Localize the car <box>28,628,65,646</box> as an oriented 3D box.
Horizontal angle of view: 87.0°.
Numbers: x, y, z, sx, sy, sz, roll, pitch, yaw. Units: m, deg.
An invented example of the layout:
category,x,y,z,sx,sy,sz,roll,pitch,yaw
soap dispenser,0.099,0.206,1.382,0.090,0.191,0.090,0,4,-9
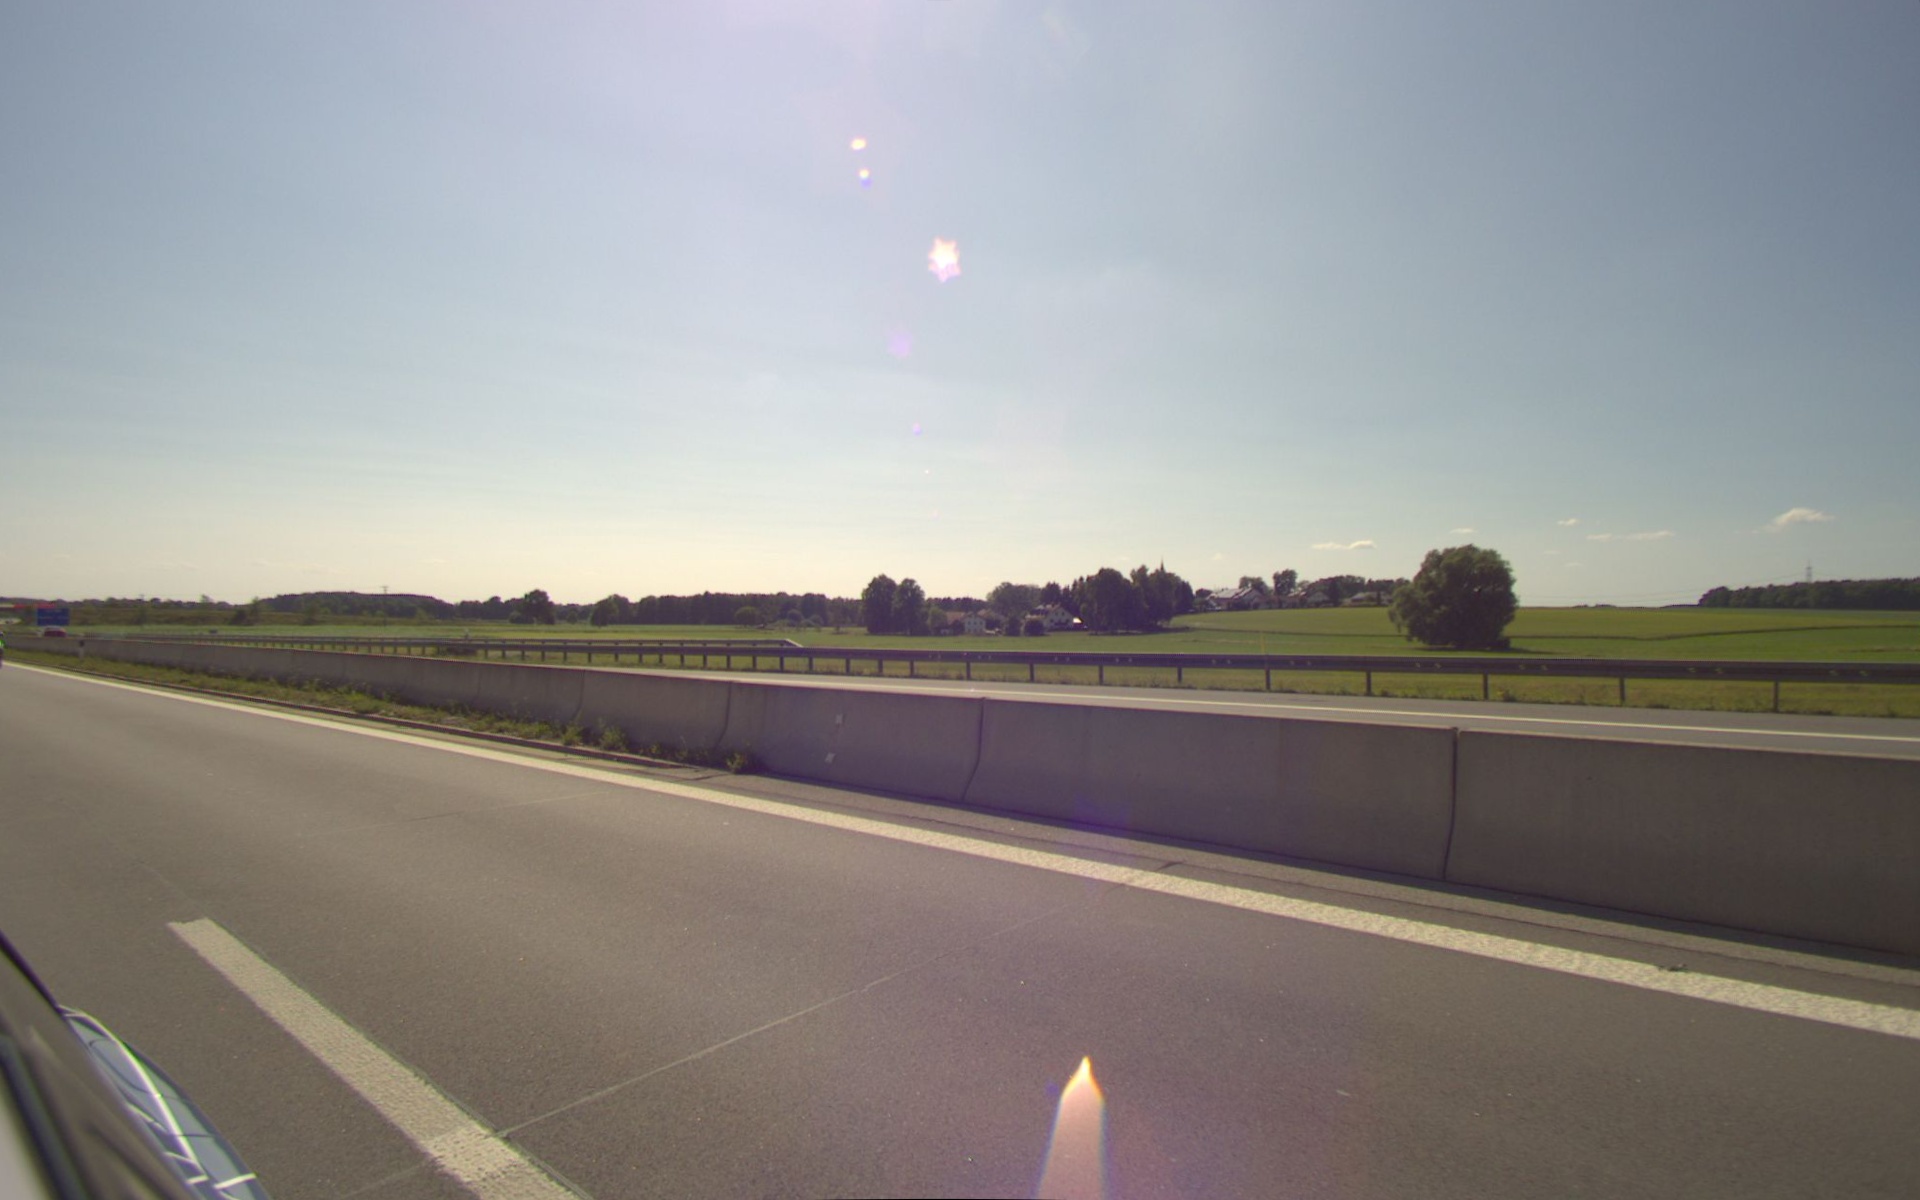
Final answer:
category,x,y,z,sx,sy,sz,roll,pitch,yaw
car,-81.758,3.296,90.574,4.804,1.535,1.878,-1,-4,42
